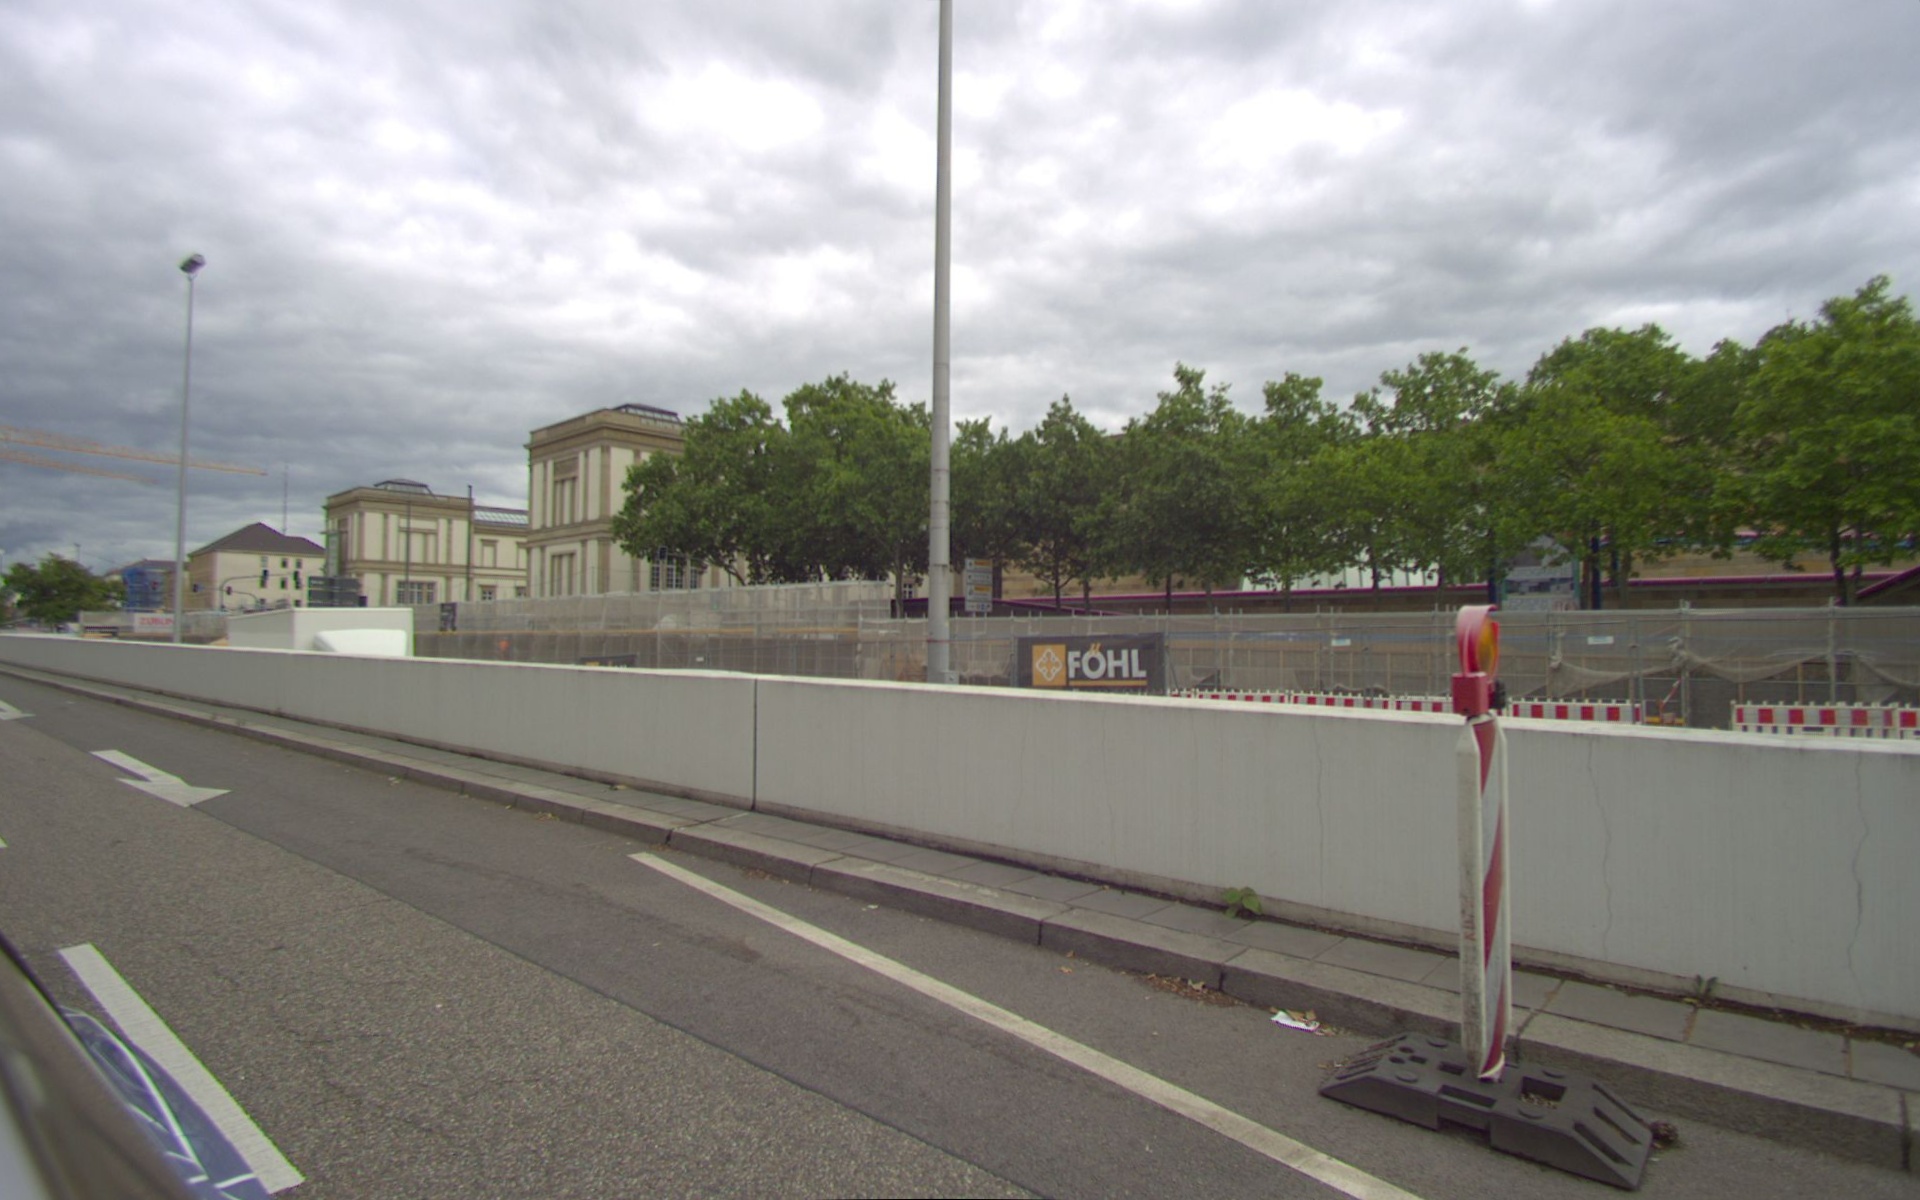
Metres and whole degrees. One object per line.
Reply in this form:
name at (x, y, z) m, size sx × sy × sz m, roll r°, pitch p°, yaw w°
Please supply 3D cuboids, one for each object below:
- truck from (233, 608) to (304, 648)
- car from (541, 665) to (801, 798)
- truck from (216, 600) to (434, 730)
truck at (-77.930, 3.308, 113.838) m, size 16.614 × 4.114 × 2.885 m, roll -3°, pitch -5°, yaw 43°
car at (-4.502, 1.878, 15.535) m, size 3.998 × 1.654 × 1.973 m, roll -1°, pitch -3°, yaw 41°
truck at (-15.500, 1.586, 24.515) m, size 6.669 × 2.733 × 2.576 m, roll -4°, pitch -5°, yaw 41°
